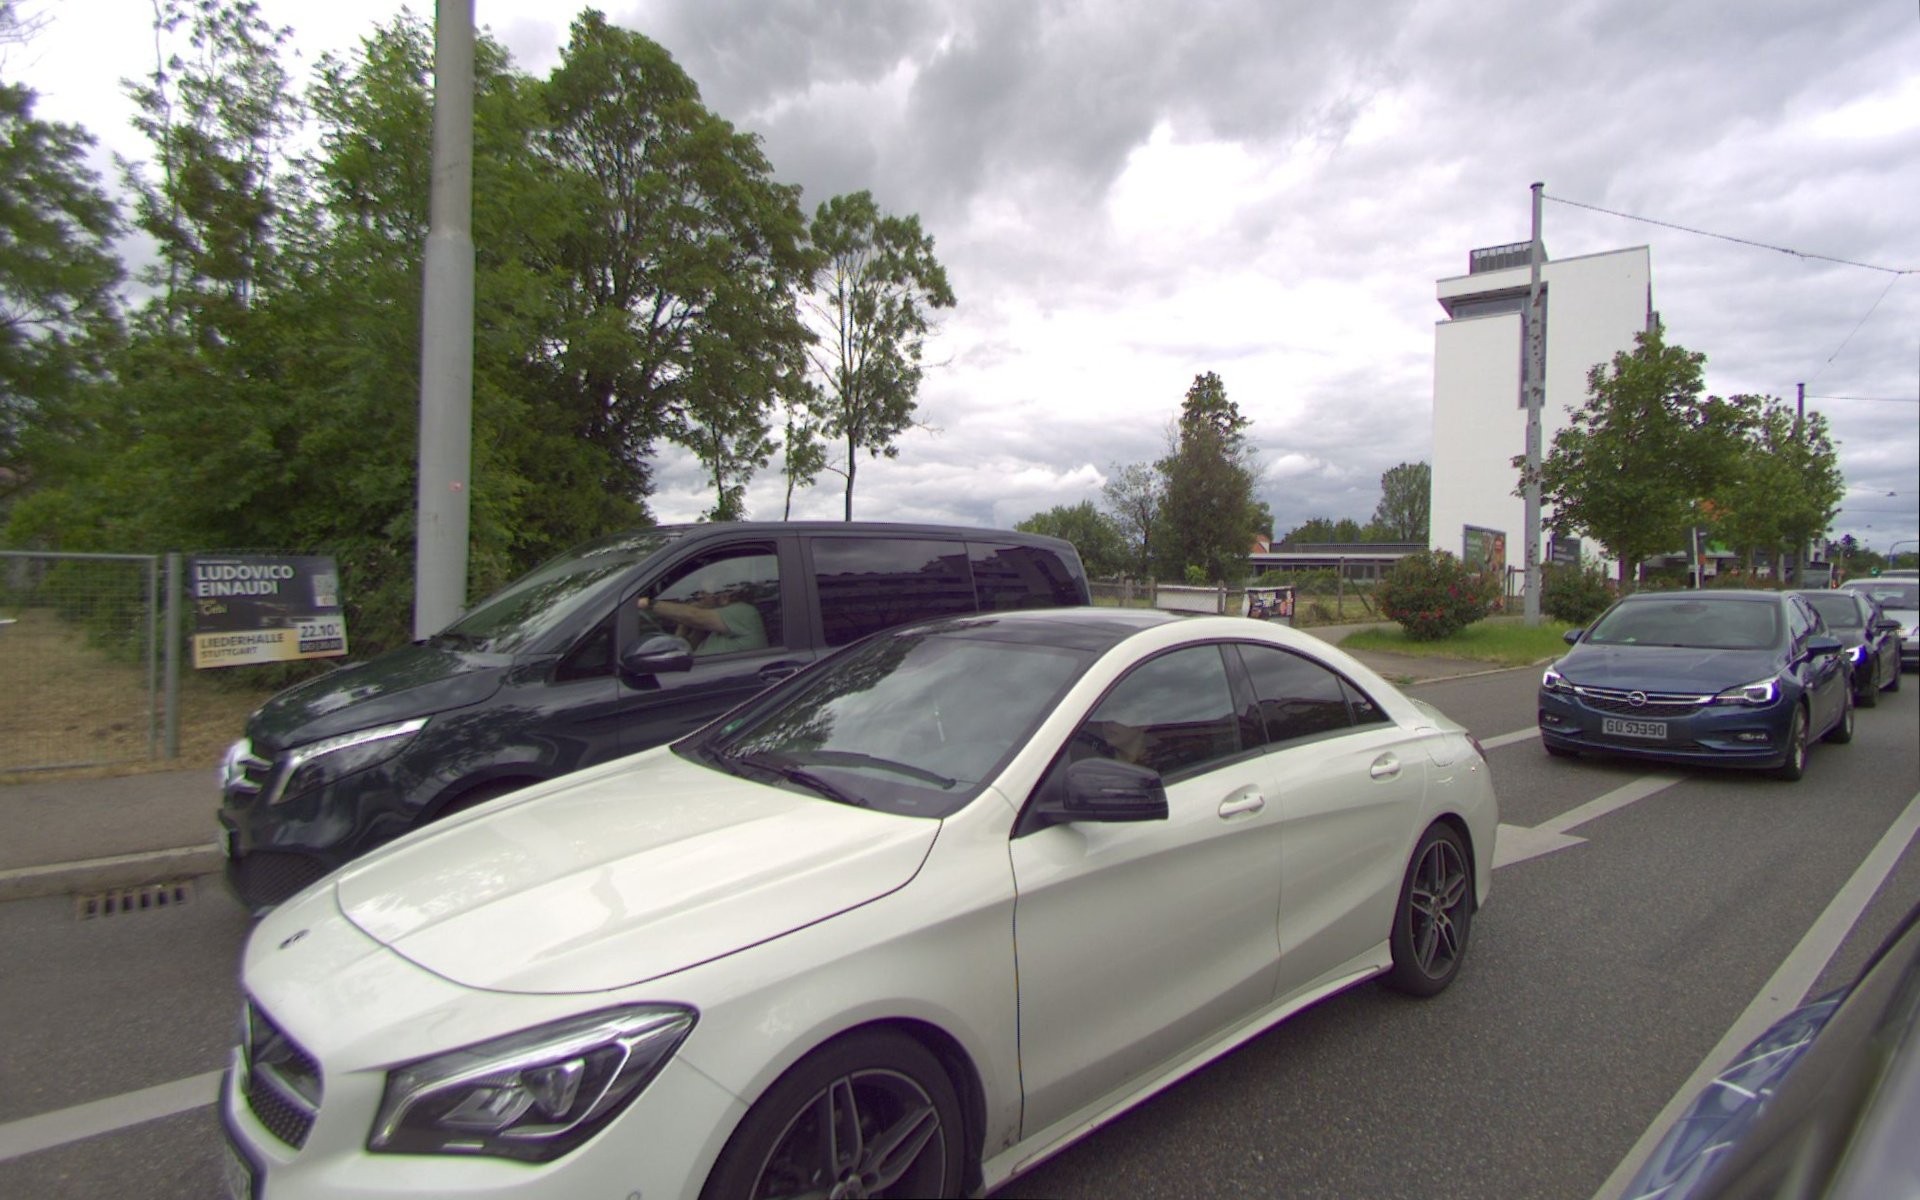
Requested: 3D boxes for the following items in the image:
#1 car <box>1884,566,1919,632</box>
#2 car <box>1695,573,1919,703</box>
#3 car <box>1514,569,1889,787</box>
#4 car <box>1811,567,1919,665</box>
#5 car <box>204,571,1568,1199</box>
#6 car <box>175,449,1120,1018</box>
[{"bbox_3d":[27.663,-0.053,28.598,3.934,1.792,2.017,-1,2,-44],"label":"car"},{"bbox_3d":[11.712,0.390,13.815,4.236,1.491,1.797,-1,2,-41],"label":"car"},{"bbox_3d":[6.732,0.479,9.010,4.235,1.491,1.797,-1,2,-41],"label":"car"},{"bbox_3d":[17.145,0.204,18.482,4.236,1.619,1.797,-1,2,-41],"label":"car"},{"bbox_3d":[0.301,0.649,3.546,4.618,1.491,1.797,-1,2,-41],"label":"car"},{"bbox_3d":[-1.347,0.375,5.791,4.795,1.911,2.012,-2,2,-44],"label":"car"}]
